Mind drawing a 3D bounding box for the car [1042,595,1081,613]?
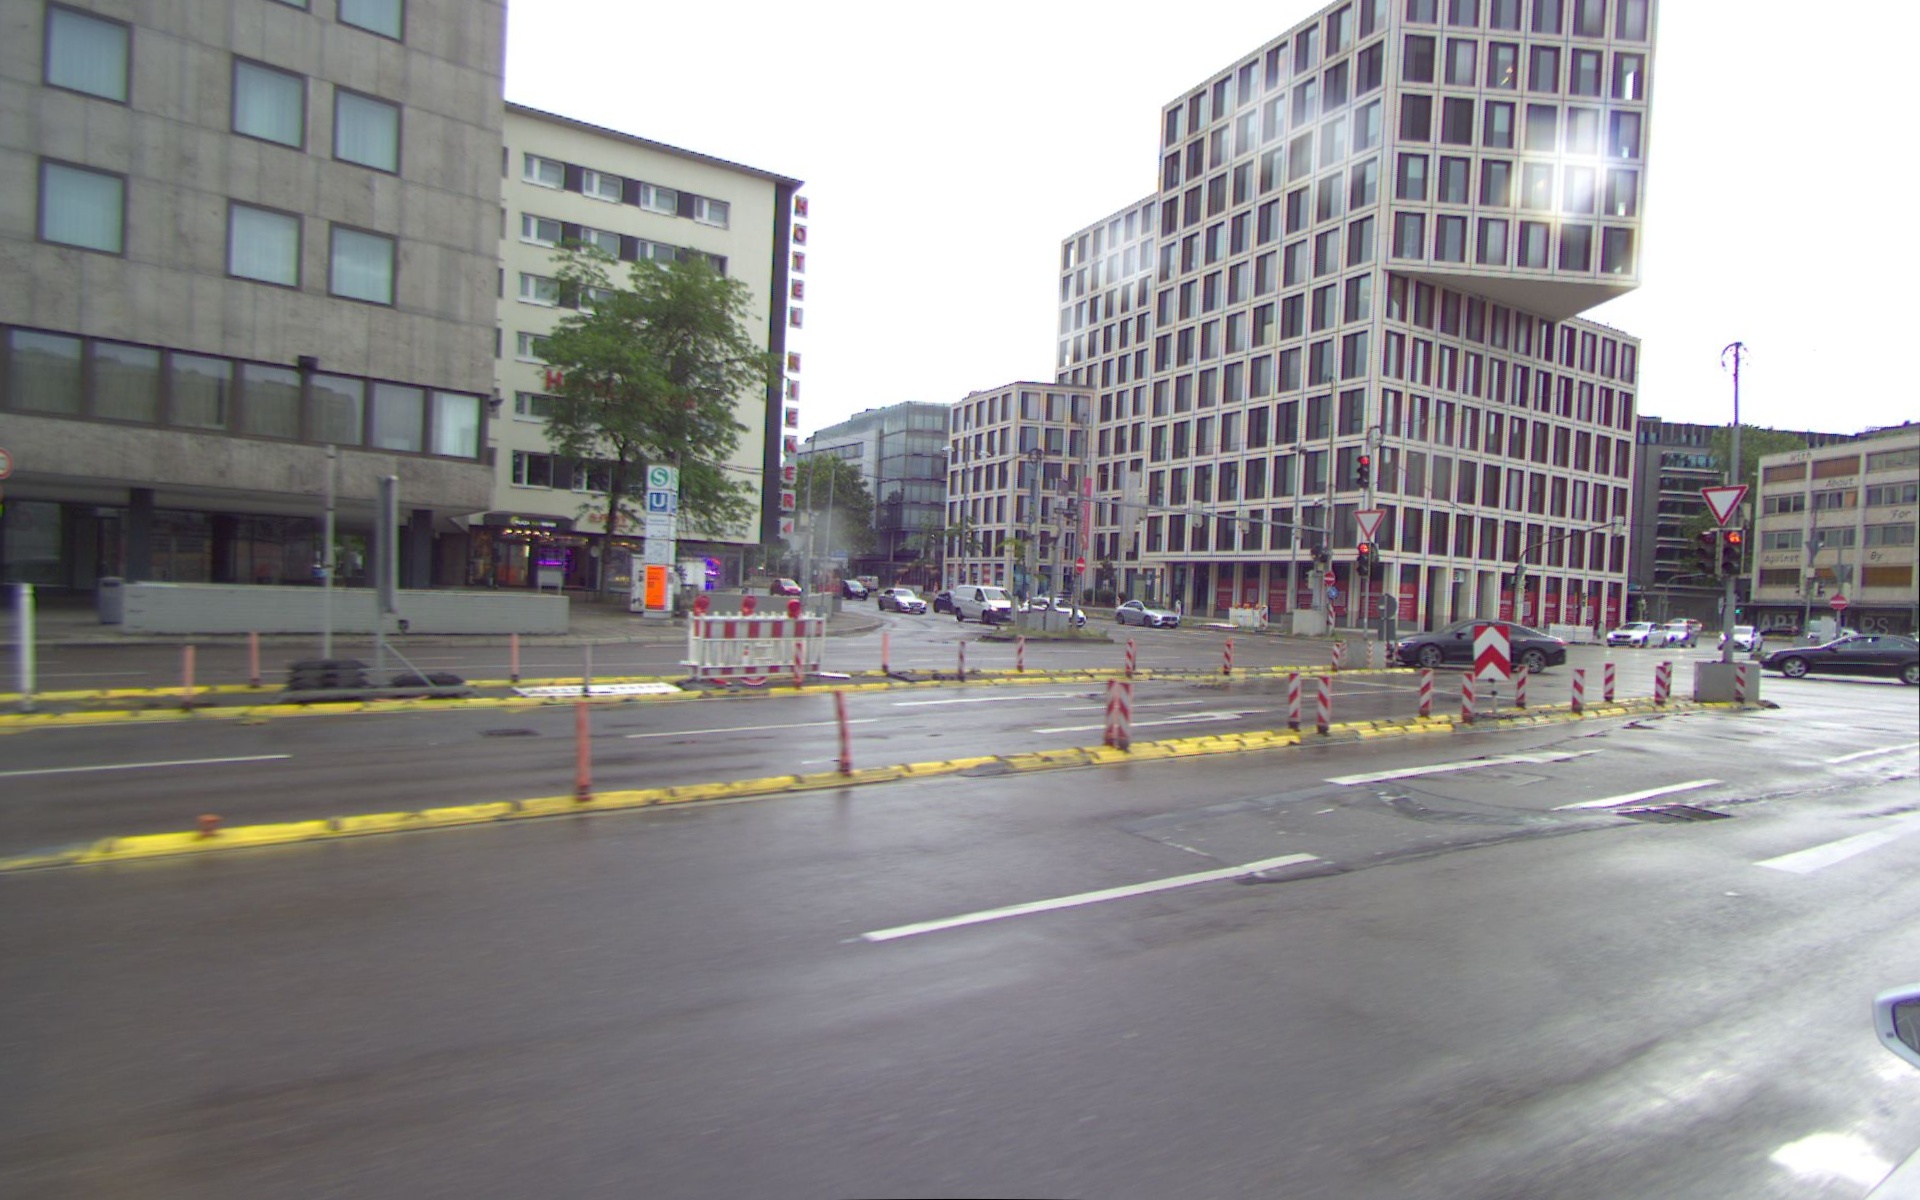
[{"bbox_3d":[9.154,0.369,91.034,1.841,1.543,3.977,2,0,-23],"label":"car"}]

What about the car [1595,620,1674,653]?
[{"bbox_3d":[39.742,2.155,59.160,4.762,1.776,2.209,2,0,-33],"label":"car"}]

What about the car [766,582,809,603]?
[{"bbox_3d":[-14.356,-0.645,83.423,1.994,1.620,4.626,2,0,-30],"label":"car"}]

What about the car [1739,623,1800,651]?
[{"bbox_3d":[69.911,3.196,86.856,1.961,2.040,4.000,4,1,1],"label":"car"}]

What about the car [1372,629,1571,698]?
[{"bbox_3d":[14.355,1.751,28.438,4.569,1.620,2.019,2,0,7],"label":"car"}]

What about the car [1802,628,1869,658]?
[{"bbox_3d":[51.630,2.502,59.309,1.854,1.578,3.997,2,0,25],"label":"car"}]

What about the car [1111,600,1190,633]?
[{"bbox_3d":[10.397,0.901,55.194,1.990,1.620,4.637,2,0,-23],"label":"car"}]

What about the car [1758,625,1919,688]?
[{"bbox_3d":[26.724,1.658,29.906,4.592,1.620,2.009,2,1,40],"label":"car"}]

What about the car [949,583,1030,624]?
[{"bbox_3d":[1.441,0.159,51.248,2.059,1.930,5.052,2,0,-25],"label":"car"}]

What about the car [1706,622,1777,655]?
[{"bbox_3d":[46.065,2.281,59.205,3.949,1.840,1.793,1,1,-27],"label":"car"}]

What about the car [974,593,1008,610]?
[{"bbox_3d":[3.095,0.116,101.435,1.842,1.543,3.975,2,0,-25],"label":"car"}]

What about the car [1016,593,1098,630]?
[{"bbox_3d":[4.938,0.565,51.715,1.993,1.761,4.629,2,0,-28],"label":"car"}]

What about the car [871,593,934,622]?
[{"bbox_3d":[-3.600,0.436,61.723,1.994,1.620,4.626,2,0,-30],"label":"car"}]

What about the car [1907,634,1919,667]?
[{"bbox_3d":[46.477,2.405,47.697,3.969,1.506,1.814,2,1,-41],"label":"car"}]

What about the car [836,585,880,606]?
[{"bbox_3d":[-8.494,-0.410,83.107,1.993,1.620,4.629,2,0,-28],"label":"car"}]
